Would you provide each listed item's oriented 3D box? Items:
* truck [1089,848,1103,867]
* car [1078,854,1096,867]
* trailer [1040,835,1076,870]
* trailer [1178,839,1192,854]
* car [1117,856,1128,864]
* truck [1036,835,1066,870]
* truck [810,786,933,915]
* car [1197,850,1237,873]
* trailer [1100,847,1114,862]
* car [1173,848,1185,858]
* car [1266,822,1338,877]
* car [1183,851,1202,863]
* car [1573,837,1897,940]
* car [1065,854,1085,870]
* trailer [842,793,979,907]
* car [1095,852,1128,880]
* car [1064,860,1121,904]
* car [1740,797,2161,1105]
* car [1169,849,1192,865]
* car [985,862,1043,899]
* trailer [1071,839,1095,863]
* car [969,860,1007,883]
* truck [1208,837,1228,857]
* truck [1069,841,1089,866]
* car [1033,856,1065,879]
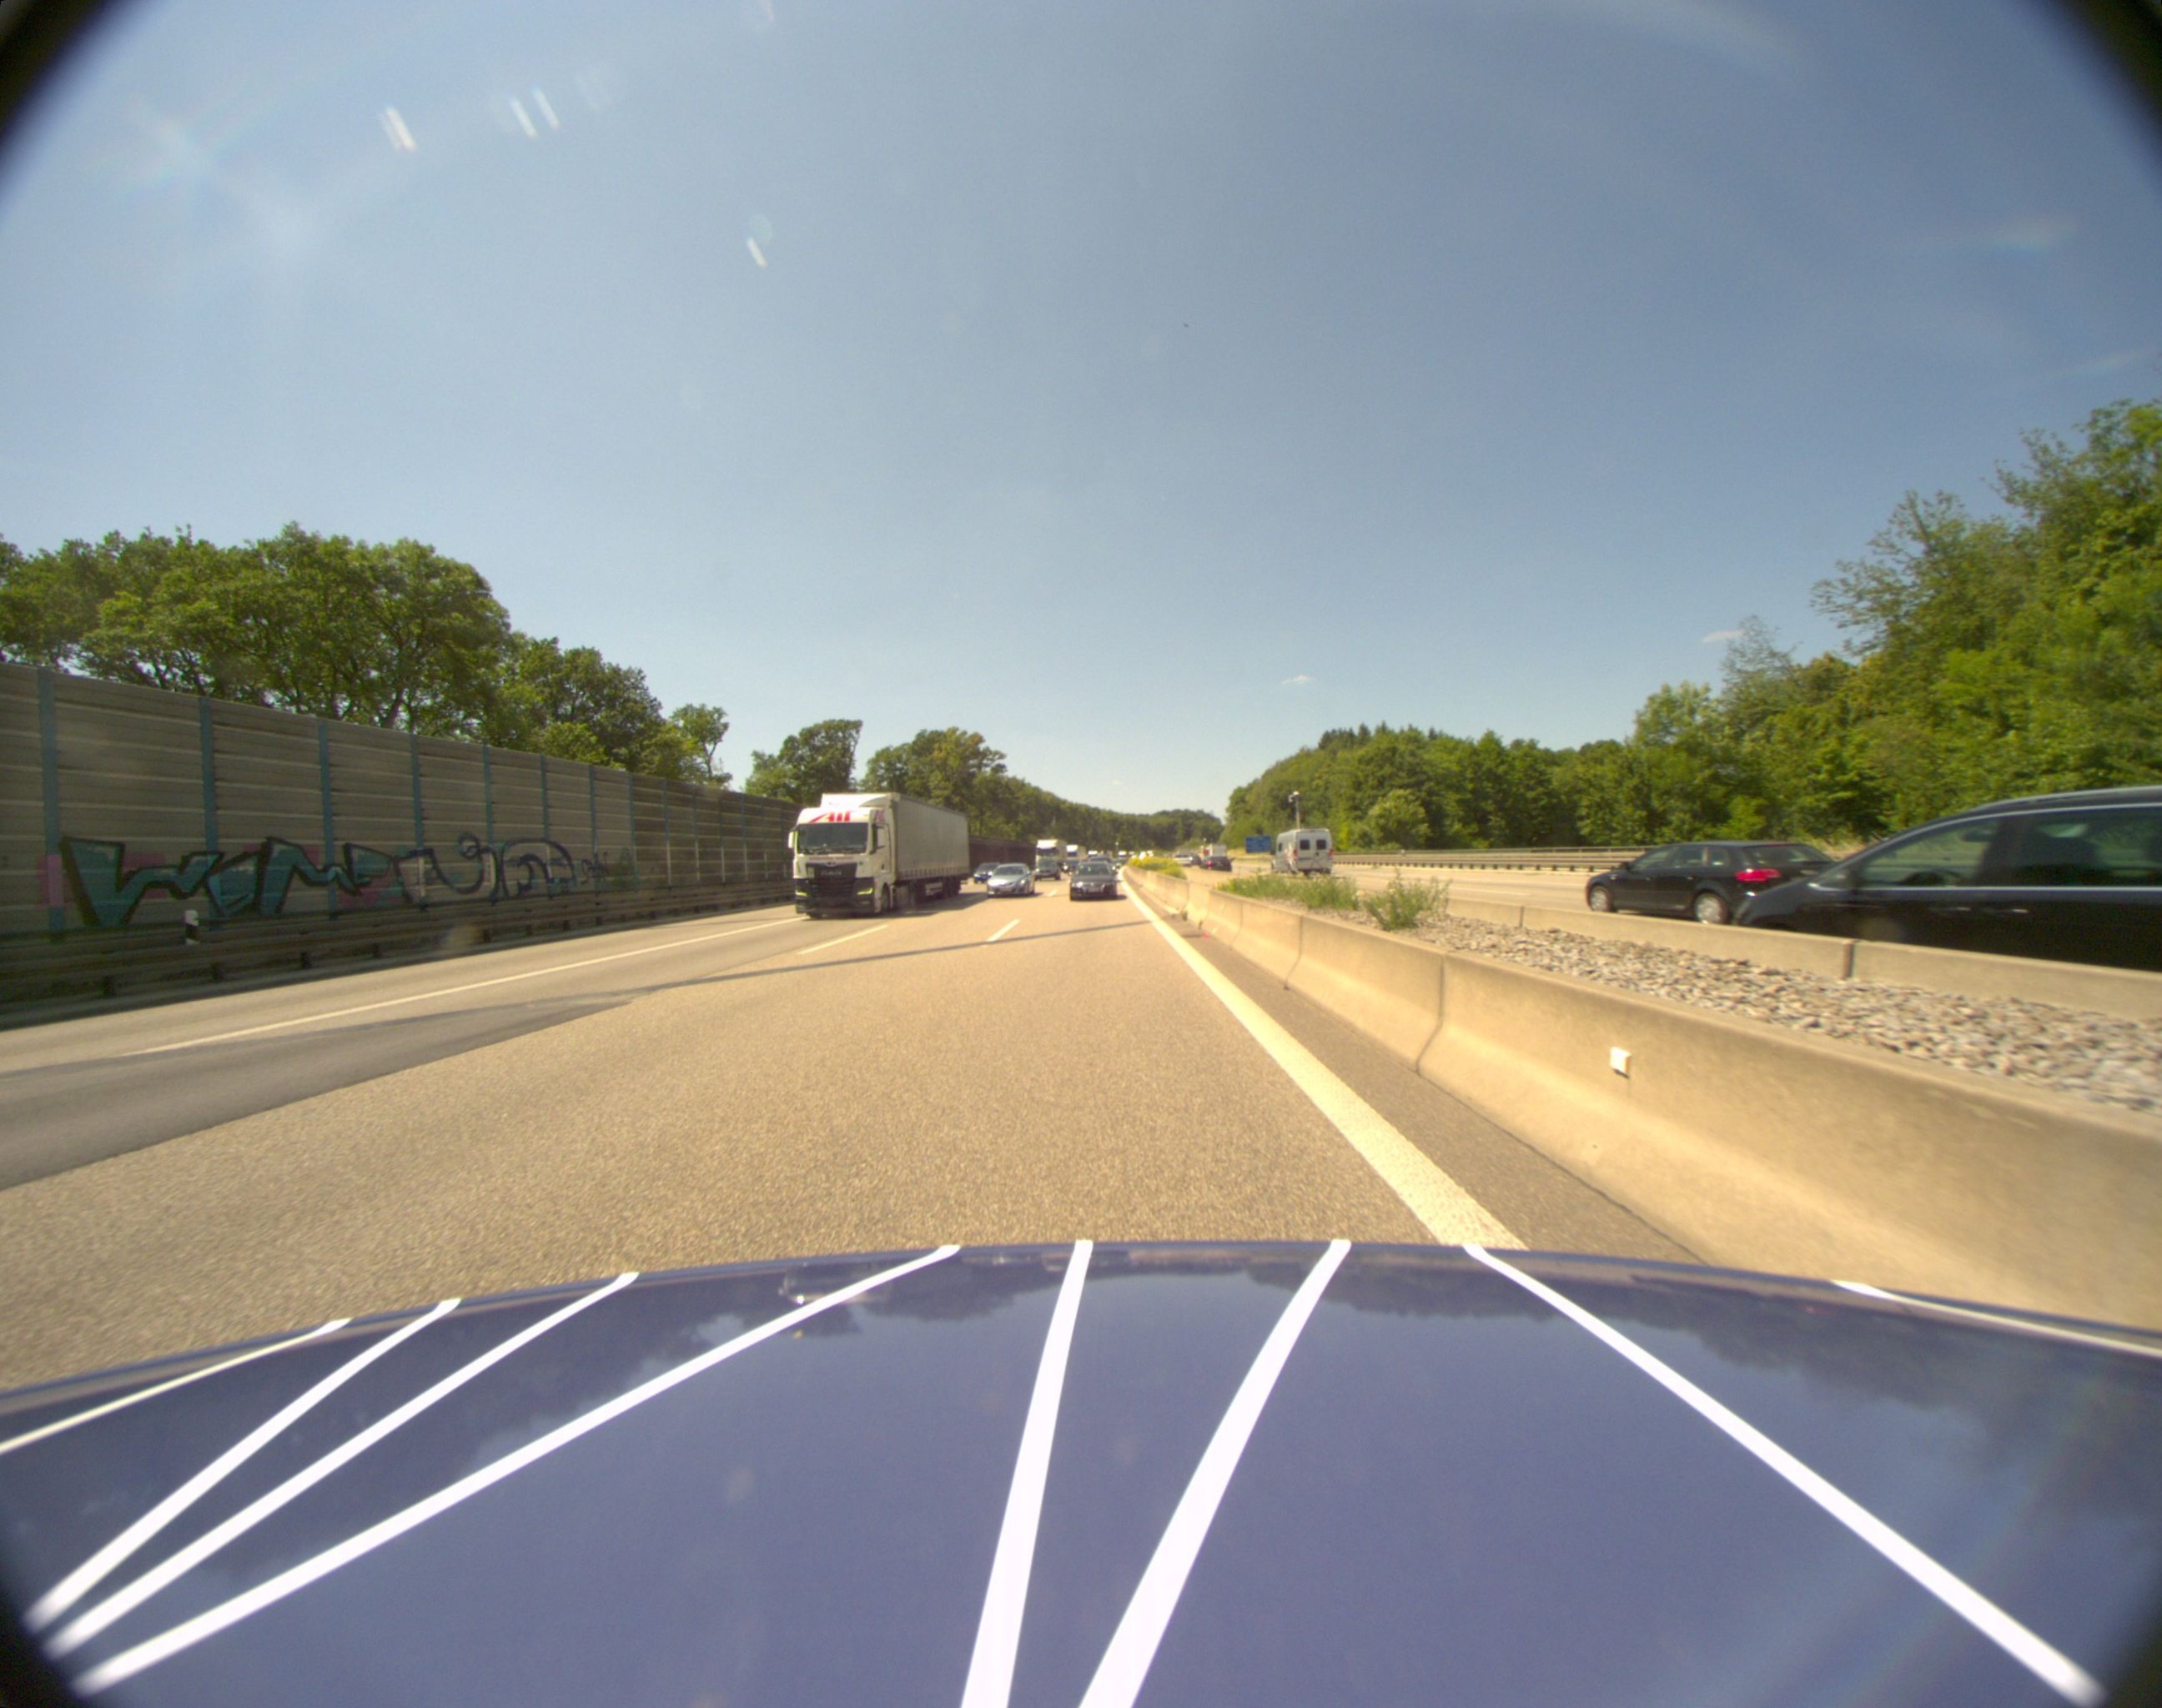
[{"bbox_3d":[3.691,0.917,185.152,2.853,4.382,5.242,-2,0,7],"label":"truck"},{"bbox_3d":[0.843,0.923,103.542,1.998,1.641,4.001,-2,0,5],"label":"car"},{"bbox_3d":[-2.943,-0.199,102.164,2.820,4.190,13.470,-2,0,6],"label":"trailer"},{"bbox_3d":[28.306,-2.100,208.014,2.787,3.834,10.172,-2,0,3],"label":"trailer"},{"bbox_3d":[8.599,1.197,157.760,1.998,1.641,4.001,-2,0,5],"label":"car"},{"bbox_3d":[-3.692,-0.176,95.389,2.811,4.190,5.424,-2,0,6],"label":"truck"},{"bbox_3d":[-7.284,-0.132,27.224,2.604,4.067,5.552,-2,1,2],"label":"truck"},{"bbox_3d":[8.859,0.450,49.782,1.880,1.402,4.412,-2,0,1],"label":"car"},{"bbox_3d":[7.498,0.195,220.105,3.153,4.061,6.186,-2,0,10],"label":"trailer"},{"bbox_3d":[18.755,-0.193,145.600,1.998,1.691,4.531,-2,0,3],"label":"car"},{"bbox_3d":[11.962,-0.231,41.575,2.221,2.685,6.062,-2,0,1],"label":"car"},{"bbox_3d":[14.172,0.413,96.611,1.847,1.412,4.234,-2,0,2],"label":"car"},{"bbox_3d":[10.611,0.492,12.862,1.818,1.394,4.271,-2,0,1],"label":"car"},{"bbox_3d":[-0.667,0.915,85.413,1.998,1.641,4.001,-2,0,3],"label":"car"},{"bbox_3d":[-7.088,-0.197,34.365,2.604,4.067,13.591,-2,0,2],"label":"trailer"},{"bbox_3d":[1.958,0.764,49.257,1.998,1.641,4.000,-2,1,2],"label":"car"},{"bbox_3d":[0.501,0.989,28.189,1.907,1.410,4.001,-2,0,3],"label":"car"},{"bbox_3d":[6.990,0.502,4.730,1.998,1.714,4.357,-2,0,1],"label":"car"},{"bbox_3d":[9.903,0.297,75.577,1.808,1.518,4.257,-2,0,2],"label":"car"},{"bbox_3d":[-2.926,1.126,34.060,1.860,1.426,4.178,-2,0,4],"label":"car"},{"bbox_3d":[0.421,-0.531,135.940,2.541,4.149,10.182,-2,0,8],"label":"trailer"},{"bbox_3d":[-6.721,1.252,55.298,1.860,1.484,4.178,-2,0,4],"label":"car"},{"bbox_3d":[25.043,-1.260,139.390,2.741,3.454,7.316,-2,0,4],"label":"truck"},{"bbox_3d":[-0.275,-0.077,131.149,2.544,4.149,4.748,-2,0,8],"label":"truck"},{"bbox_3d":[-2.339,0.982,56.234,1.907,1.550,4.001,-2,0,3],"label":"car"}]
